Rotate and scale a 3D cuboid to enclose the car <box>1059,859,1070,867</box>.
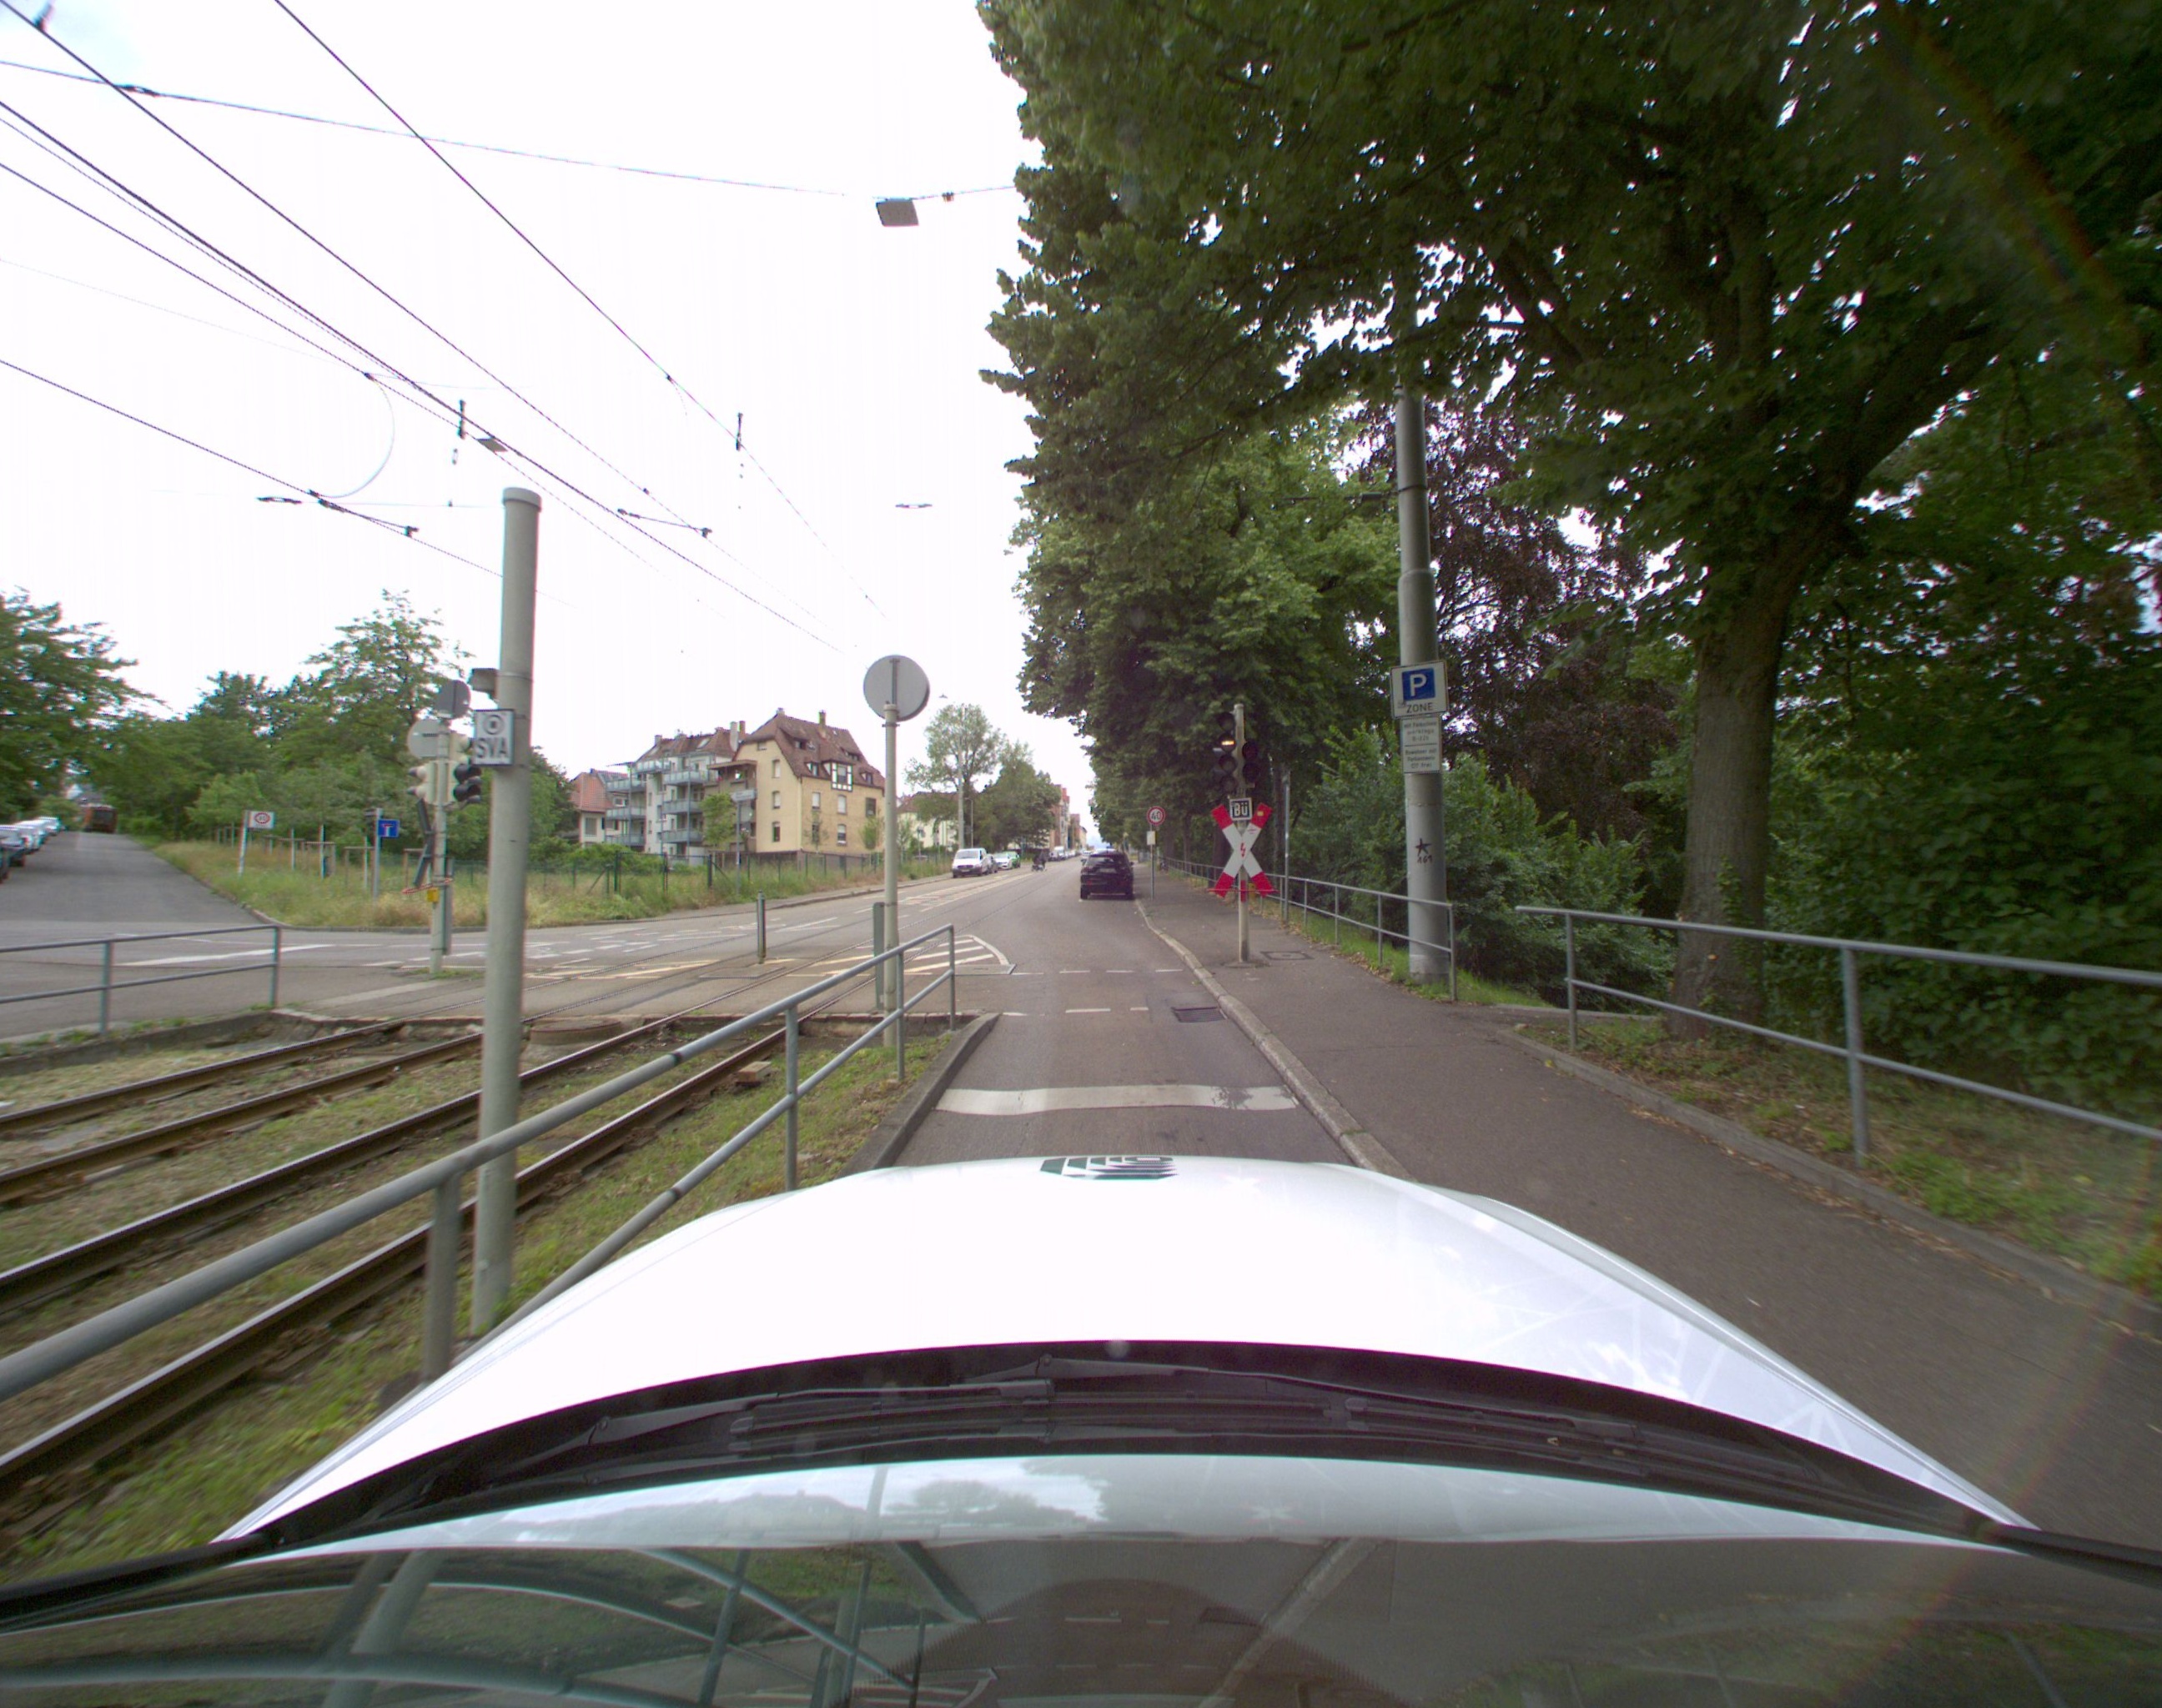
[{"bbox_3d":[-3.294,1.805,159.969,1.987,1.600,4.311,-1,-1,0],"label":"car"}]

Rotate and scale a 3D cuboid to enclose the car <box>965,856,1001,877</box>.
[{"bbox_3d":[-7.214,0.898,60.503,1.889,1.432,4.513,-2,0,2],"label":"car"}]

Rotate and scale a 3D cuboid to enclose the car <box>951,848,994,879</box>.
[{"bbox_3d":[-7.241,0.677,54.877,2.029,1.881,4.885,-4,-1,1],"label":"car"}]

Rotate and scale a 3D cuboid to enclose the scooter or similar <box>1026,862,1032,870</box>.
[{"bbox_3d":[-8.276,1.941,130.127,0.688,1.339,1.640,-1,-1,3],"label":"scooter or similar"}]

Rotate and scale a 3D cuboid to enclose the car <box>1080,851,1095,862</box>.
[{"bbox_3d":[0.968,0.332,117.926,1.986,1.498,4.313,-1,-1,2],"label":"car"}]

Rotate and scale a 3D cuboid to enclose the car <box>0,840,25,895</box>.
[{"bbox_3d":[-37.032,0.409,27.192,4.394,1.690,1.989,3,1,40],"label":"car"}]

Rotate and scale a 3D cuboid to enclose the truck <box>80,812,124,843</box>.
[{"bbox_3d":[-130.136,-3.464,108.212,8.093,3.601,3.583,-2,-2,39],"label":"truck"}]

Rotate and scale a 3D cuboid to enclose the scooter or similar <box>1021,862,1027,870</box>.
[{"bbox_3d":[-9.125,1.947,130.156,0.688,1.339,1.640,-1,-1,3],"label":"scooter or similar"}]

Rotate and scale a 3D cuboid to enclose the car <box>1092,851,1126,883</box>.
[{"bbox_3d":[1.495,0.682,44.471,1.720,1.631,4.088,2,0,1],"label":"car"}]

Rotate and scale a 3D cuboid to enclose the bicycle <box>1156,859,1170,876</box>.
[{"bbox_3d":[4.809,0.777,47.836,0.427,0.976,1.790,0,-1,-8],"label":"bicycle"}]

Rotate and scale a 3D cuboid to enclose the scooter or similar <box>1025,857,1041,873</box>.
[{"bbox_3d":[-3.554,0.840,60.686,0.828,1.196,0.812,-2,-2,39],"label":"scooter or similar"}]

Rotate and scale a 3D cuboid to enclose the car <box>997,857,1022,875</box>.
[{"bbox_3d":[-6.522,1.092,74.445,1.716,1.580,4.183,-2,-1,2],"label":"car"}]

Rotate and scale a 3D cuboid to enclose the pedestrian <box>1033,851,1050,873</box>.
[{"bbox_3d":[-2.904,0.601,60.166,0.904,1.629,0.812,-2,-2,39],"label":"pedestrian"}]

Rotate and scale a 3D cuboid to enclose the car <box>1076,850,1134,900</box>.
[{"bbox_3d":[0.925,0.684,28.741,1.896,1.615,4.604,0,0,3],"label":"car"}]

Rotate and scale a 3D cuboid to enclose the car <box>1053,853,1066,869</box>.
[{"bbox_3d":[-3.857,1.269,149.669,2.223,2.764,5.798,-1,-1,0],"label":"car"}]

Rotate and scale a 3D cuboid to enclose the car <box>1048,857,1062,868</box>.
[{"bbox_3d":[-4.333,1.488,135.173,1.985,1.808,4.003,-1,-1,3],"label":"car"}]

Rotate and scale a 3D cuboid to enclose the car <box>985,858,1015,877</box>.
[{"bbox_3d":[-6.794,1.137,68.926,1.878,1.526,4.665,-3,-1,2],"label":"car"}]
